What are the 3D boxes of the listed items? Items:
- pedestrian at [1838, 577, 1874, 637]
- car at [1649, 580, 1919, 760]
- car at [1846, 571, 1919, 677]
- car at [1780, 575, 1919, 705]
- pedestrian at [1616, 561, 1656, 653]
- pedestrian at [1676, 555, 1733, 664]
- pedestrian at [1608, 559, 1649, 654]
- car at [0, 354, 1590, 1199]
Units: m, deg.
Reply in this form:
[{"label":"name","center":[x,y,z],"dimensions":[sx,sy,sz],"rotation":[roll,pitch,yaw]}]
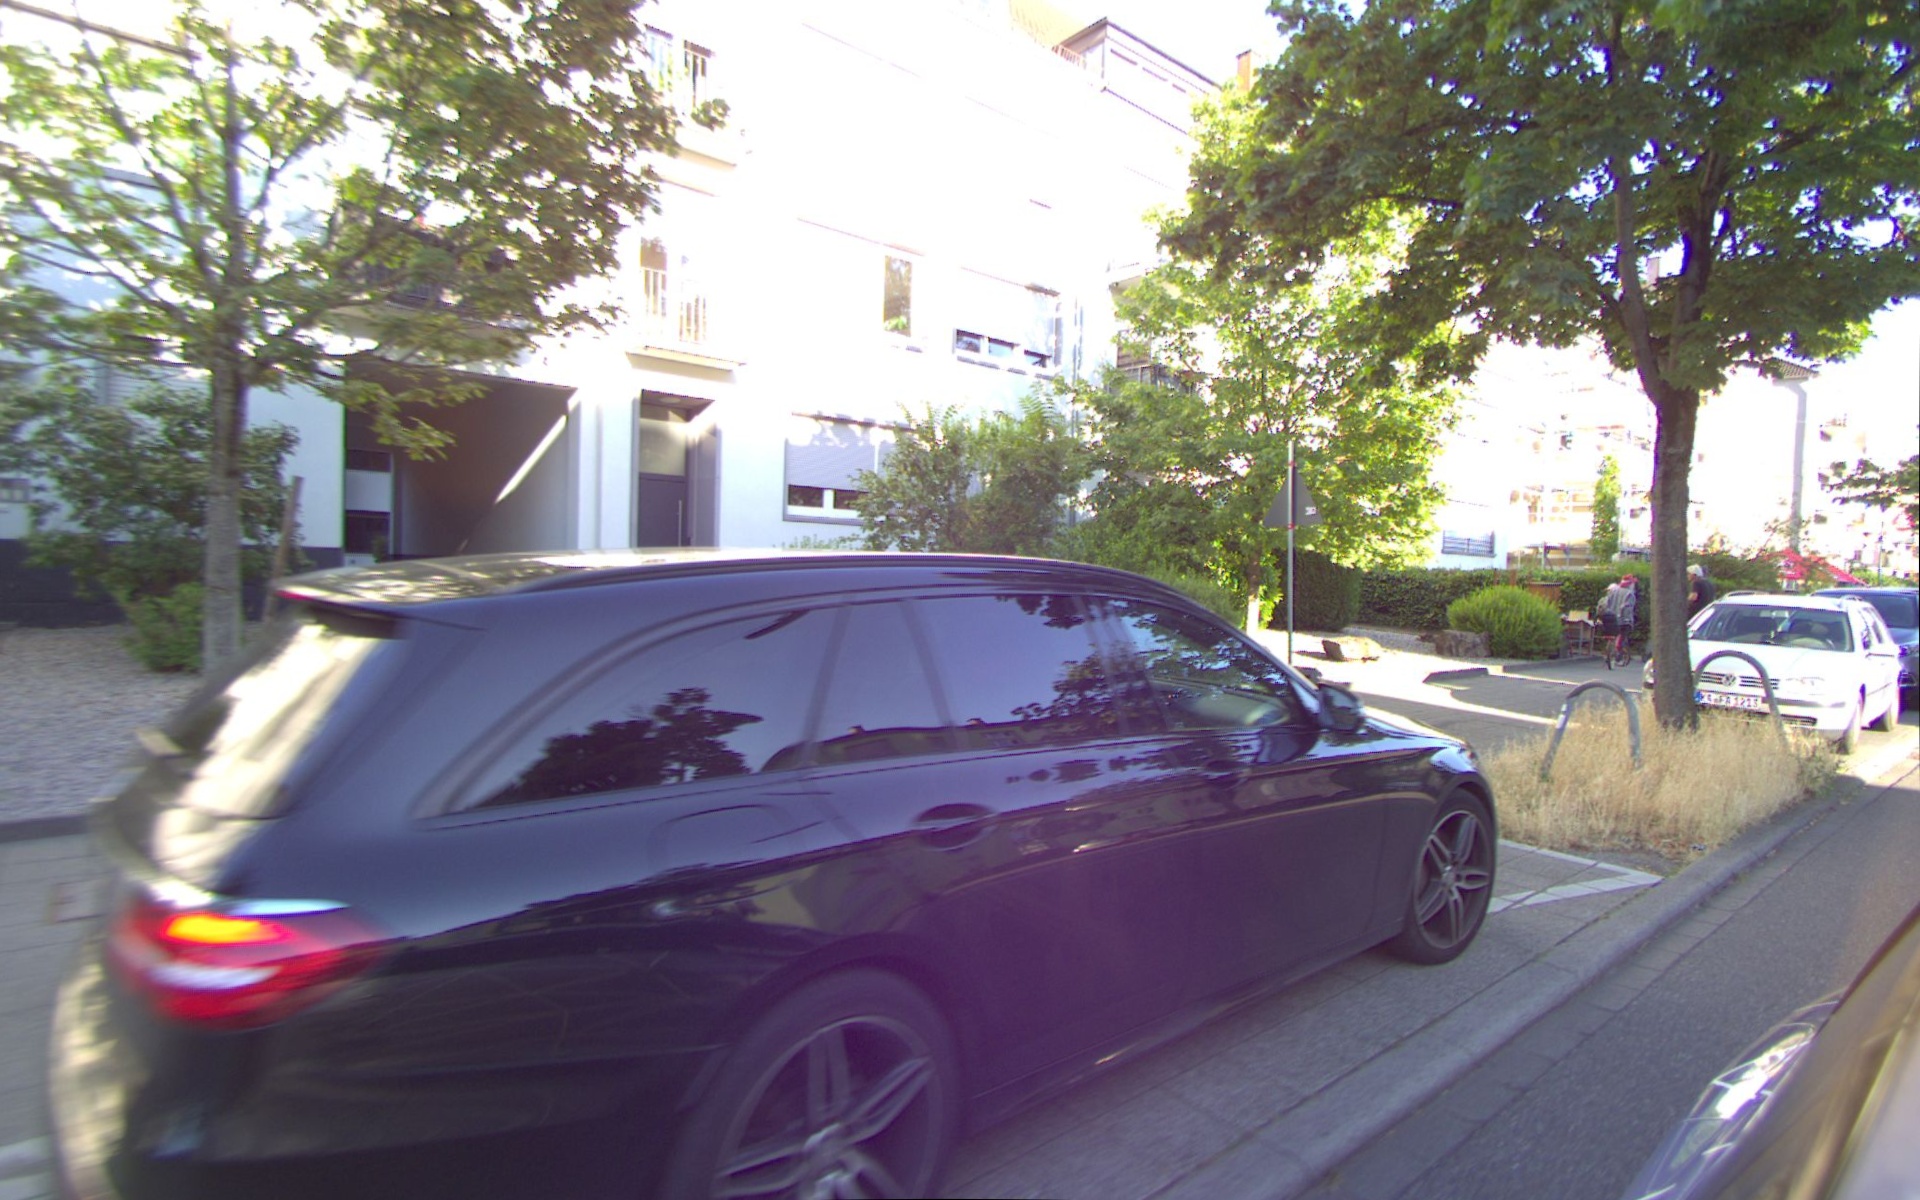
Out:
[{"label":"pedestrian","center":[24.130,0.168,27.270],"dimensions":[0.553,1.587,0.740],"rotation":[2,1,31]},{"label":"car","center":[9.051,0.590,10.866],"dimensions":[4.338,1.508,1.640],"rotation":[0,3,-41]},{"label":"car","center":[16.837,0.373,17.615],"dimensions":[4.521,1.676,1.723],"rotation":[0,2,-44]},{"label":"car","center":[13.231,0.488,14.442],"dimensions":[3.930,1.587,1.640],"rotation":[0,3,-41]},{"label":"pedestrian","center":[12.855,0.119,19.243],"dimensions":[0.518,1.718,0.510],"rotation":[0,1,-45]},{"label":"pedestrian","center":[13.126,0.152,17.835],"dimensions":[0.749,1.872,0.550],"rotation":[0,1,-34]},{"label":"pedestrian","center":[12.289,0.113,18.598],"dimensions":[0.518,1.718,0.510],"rotation":[0,1,-45]},{"label":"car","center":[0.083,0.466,3.312],"dimensions":[4.734,1.600,1.879],"rotation":[0,3,-39]}]
